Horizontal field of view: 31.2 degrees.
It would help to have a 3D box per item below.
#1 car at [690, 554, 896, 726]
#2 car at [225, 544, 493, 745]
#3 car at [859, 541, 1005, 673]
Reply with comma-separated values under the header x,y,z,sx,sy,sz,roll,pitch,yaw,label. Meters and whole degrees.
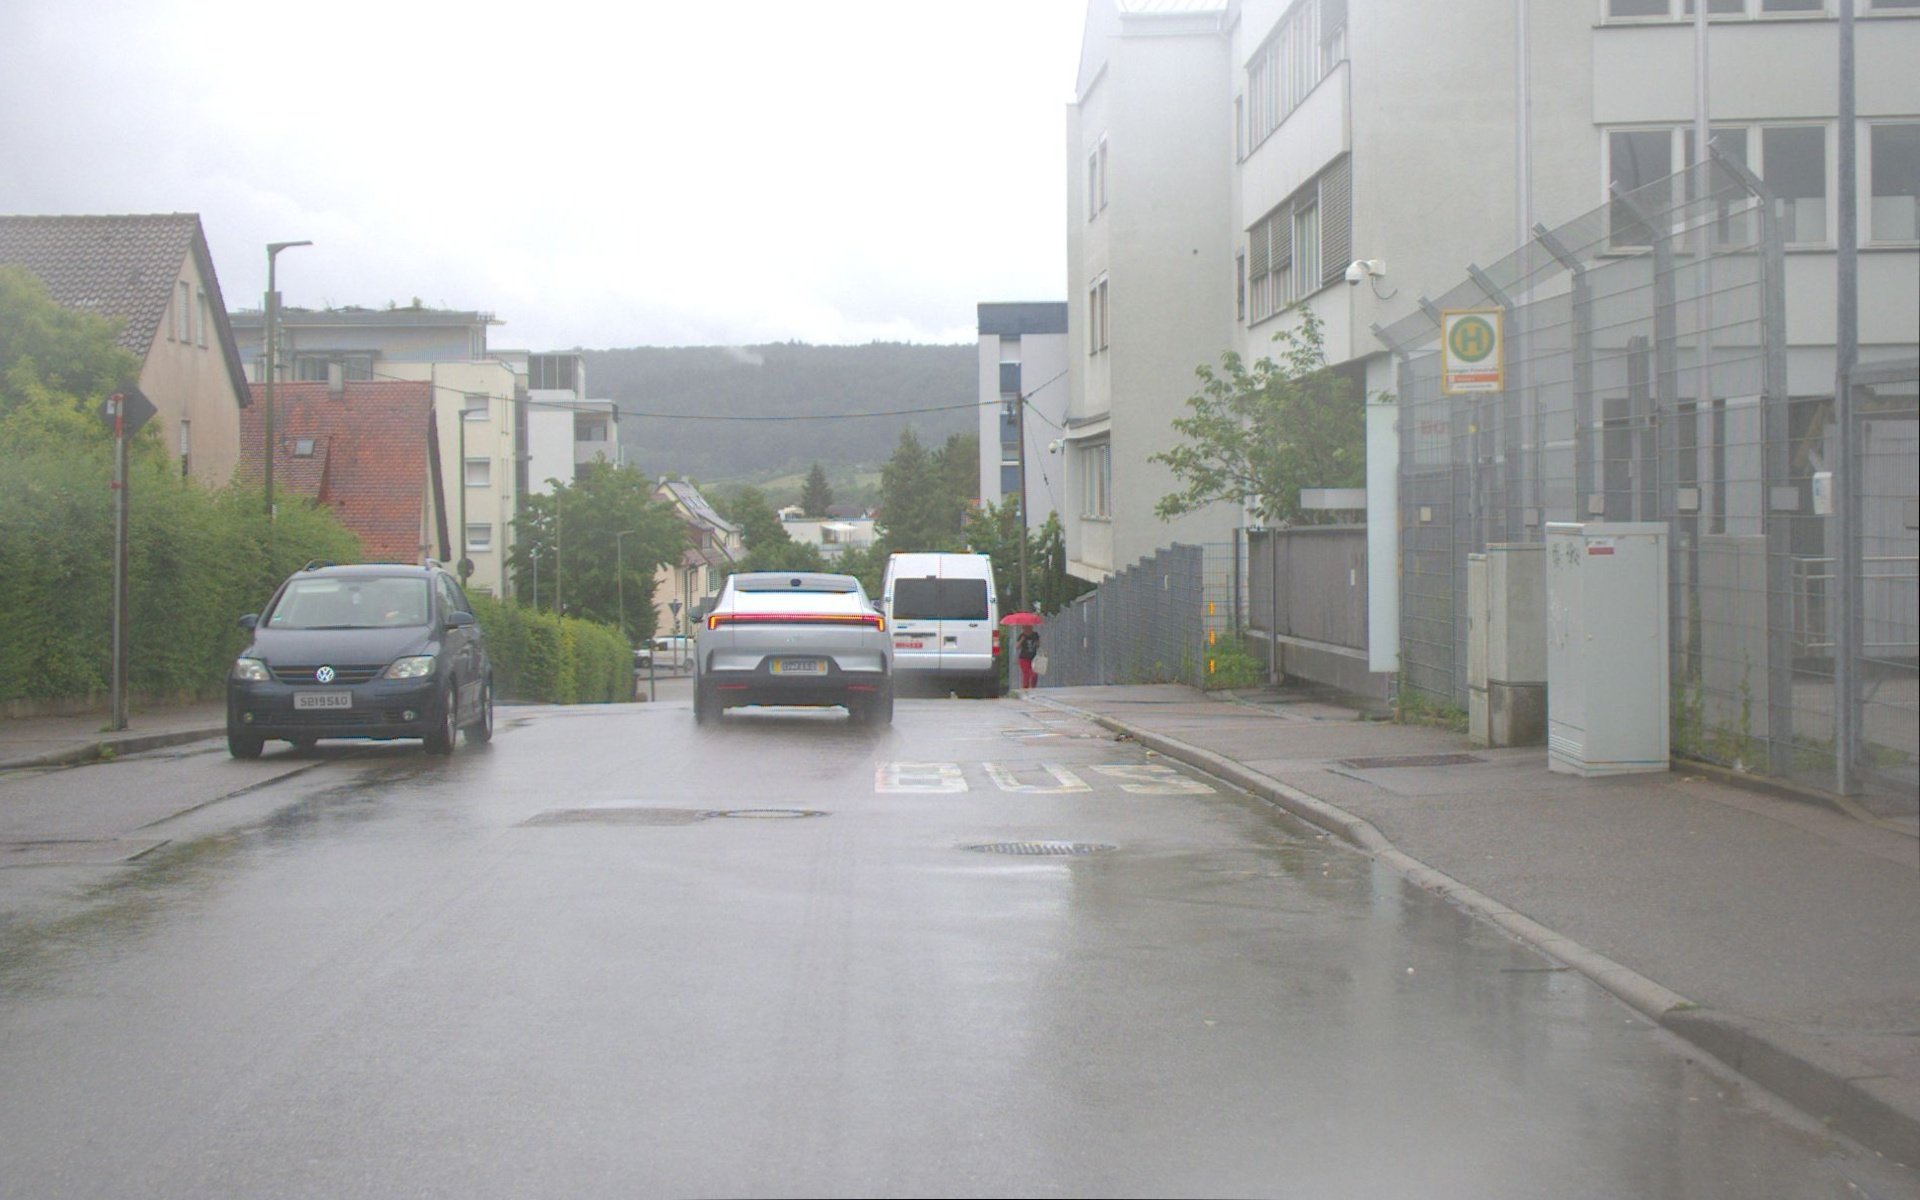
x,y,z,sx,sy,sz,roll,pitch,yaw,label
-1.711,0.357,35.800,1.993,1.497,4.671,0,3,-2,car
-4.892,0.310,28.453,1.675,1.522,4.001,-1,1,-3,car
-0.500,0.134,55.670,1.993,2.007,4.000,-1,-1,-5,car
